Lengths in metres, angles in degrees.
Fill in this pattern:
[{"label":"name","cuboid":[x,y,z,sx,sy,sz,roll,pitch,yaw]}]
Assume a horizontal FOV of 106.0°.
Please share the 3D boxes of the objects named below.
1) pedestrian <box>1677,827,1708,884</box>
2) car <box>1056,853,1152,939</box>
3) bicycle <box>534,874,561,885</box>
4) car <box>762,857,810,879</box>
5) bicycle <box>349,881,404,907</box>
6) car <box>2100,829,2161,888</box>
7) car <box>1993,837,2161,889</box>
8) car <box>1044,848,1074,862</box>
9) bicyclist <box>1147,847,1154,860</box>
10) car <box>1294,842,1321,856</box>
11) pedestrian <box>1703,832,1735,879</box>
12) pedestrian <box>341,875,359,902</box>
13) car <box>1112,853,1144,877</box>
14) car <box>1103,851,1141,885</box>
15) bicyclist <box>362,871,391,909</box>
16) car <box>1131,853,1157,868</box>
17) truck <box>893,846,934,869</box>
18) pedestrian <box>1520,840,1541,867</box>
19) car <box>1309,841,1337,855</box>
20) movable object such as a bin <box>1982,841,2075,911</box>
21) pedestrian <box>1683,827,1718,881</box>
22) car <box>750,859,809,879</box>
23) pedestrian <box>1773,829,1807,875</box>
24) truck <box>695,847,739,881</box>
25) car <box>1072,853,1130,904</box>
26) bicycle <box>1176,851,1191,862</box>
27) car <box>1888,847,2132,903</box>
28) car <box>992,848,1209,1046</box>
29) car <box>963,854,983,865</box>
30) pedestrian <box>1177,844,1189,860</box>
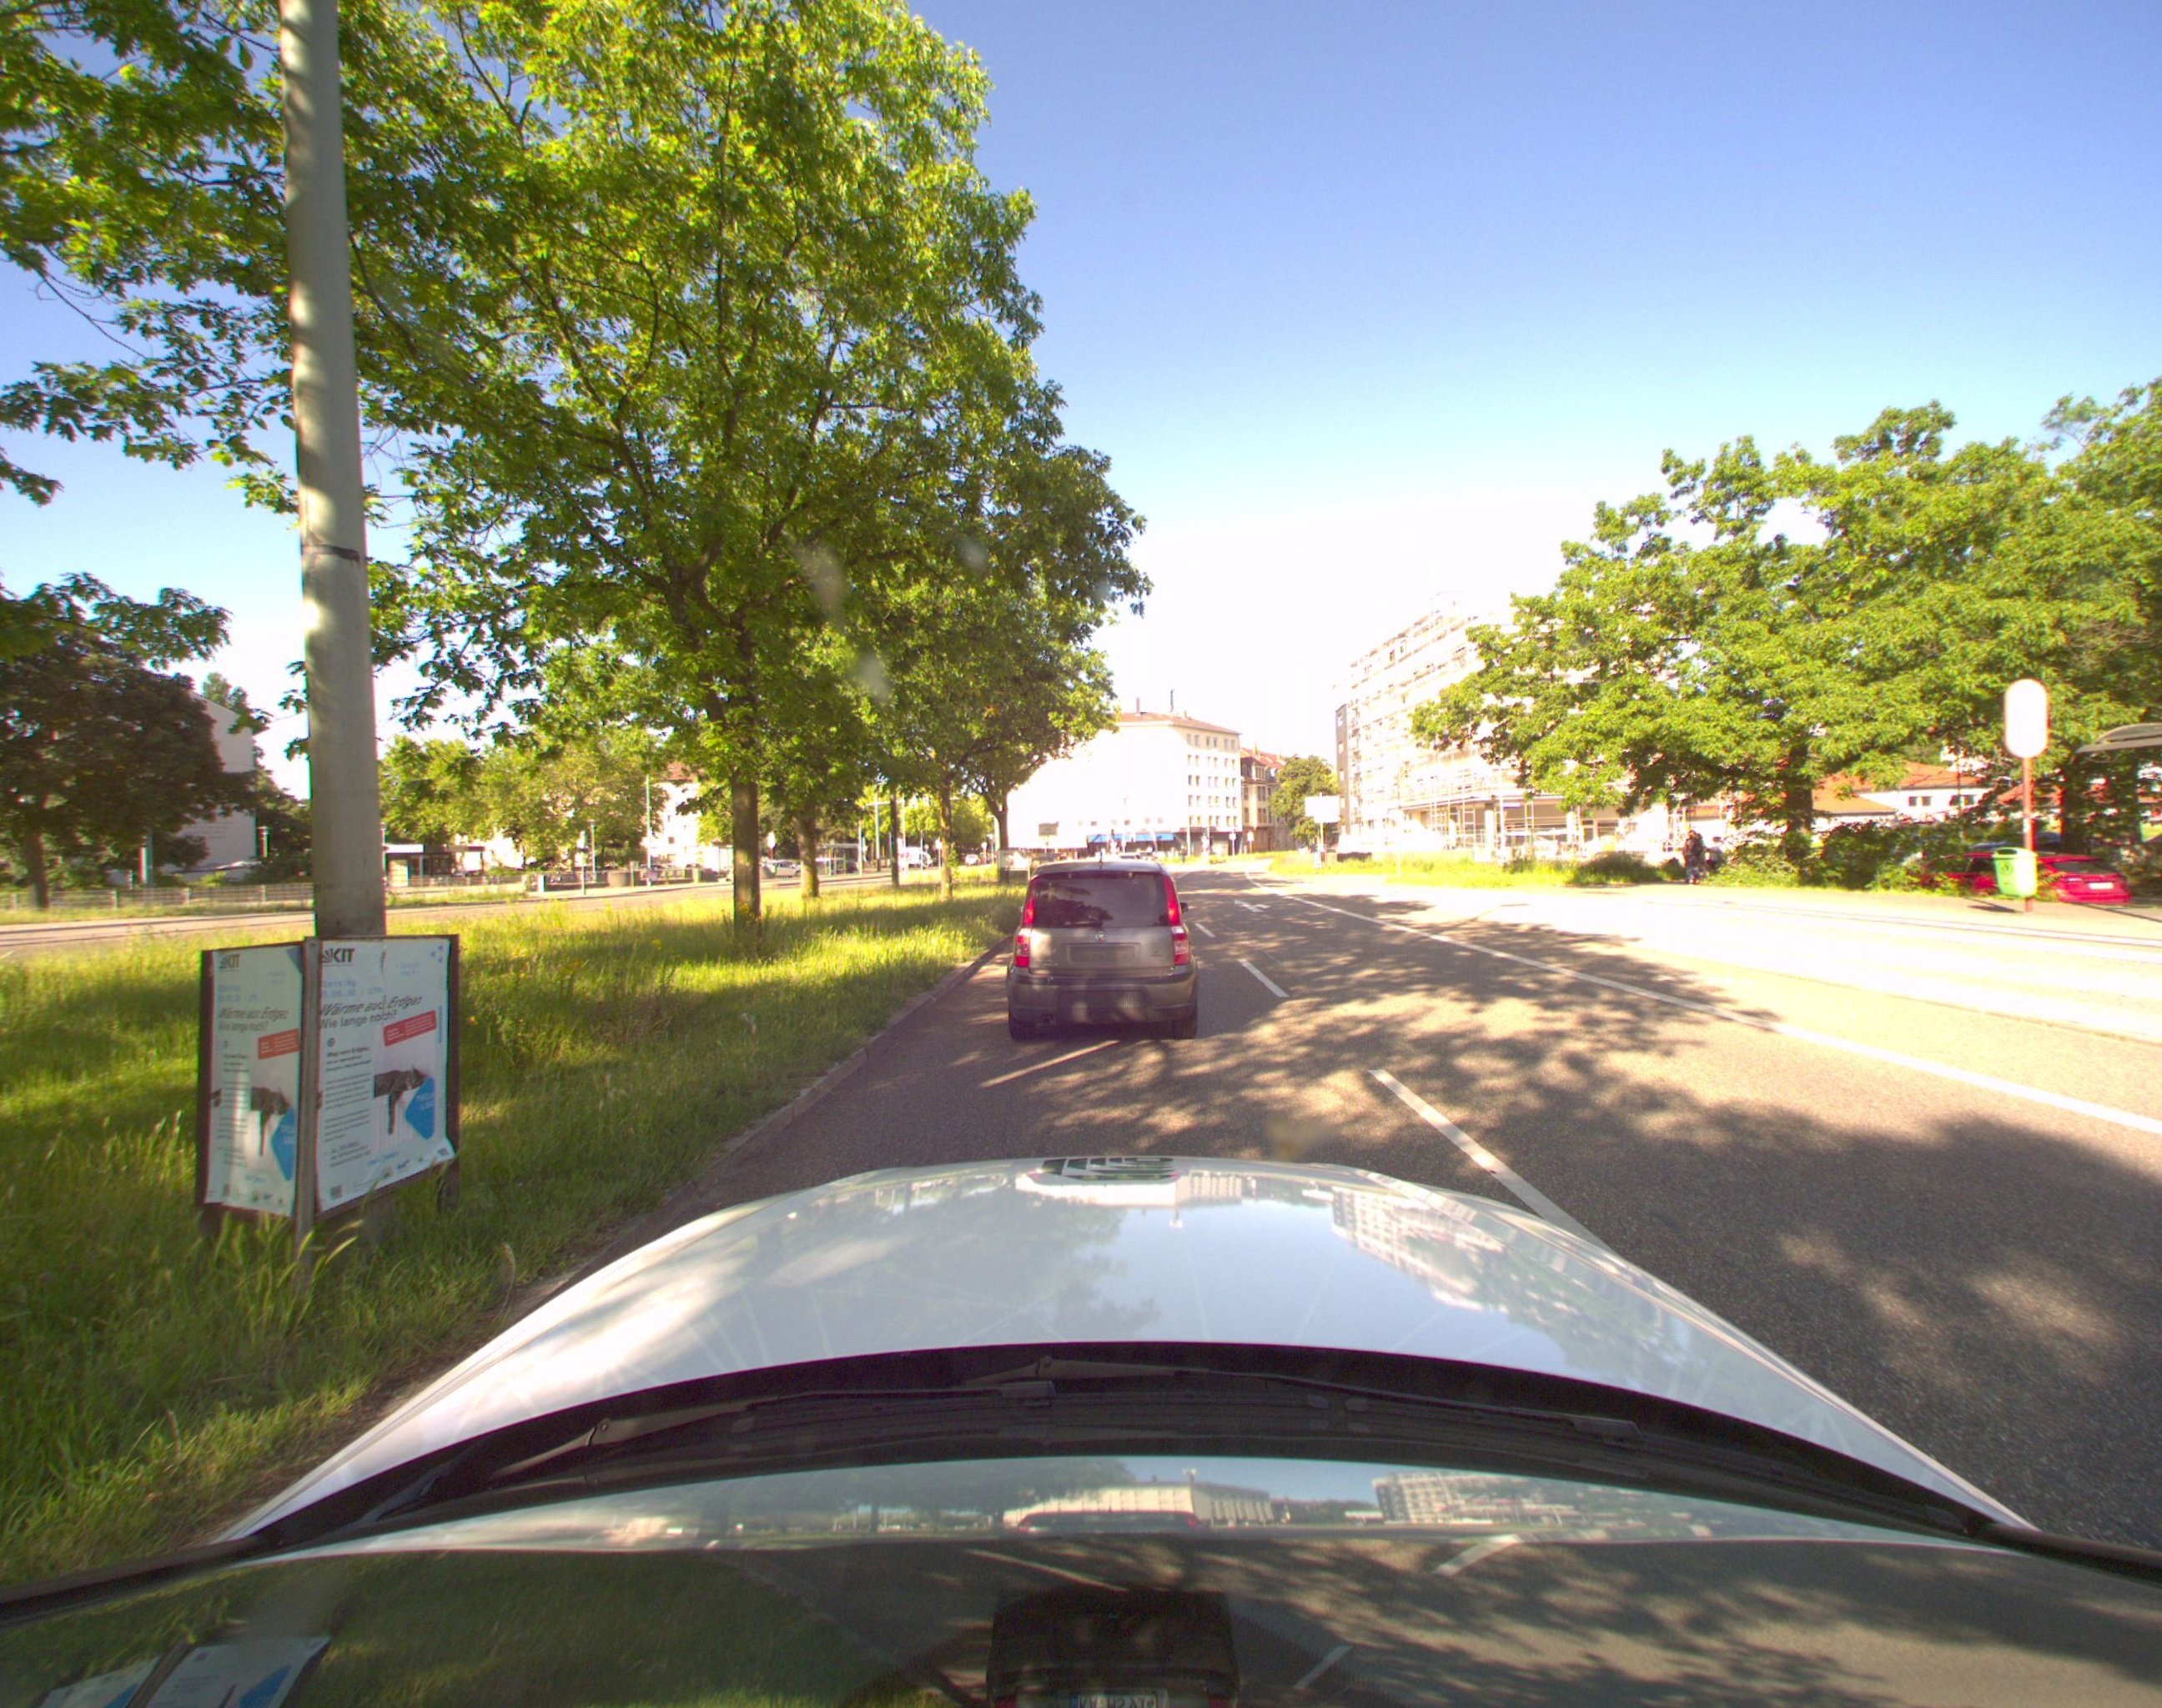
[{"label":"pedestrian","cuboid":[18.594,0.051,24.772,0.600,1.700,0.410,-2,0,1]},{"label":"car","cuboid":[0.456,0.731,15.964,1.615,1.429,3.690,-2,0,2]},{"label":"bicycle","cuboid":[-43.080,2.053,65.778,1.695,0.839,0.541,-2,0,-41]},{"label":"car","cuboid":[-27.121,1.254,75.070,1.741,1.717,4.025,2,2,29]},{"label":"bicycle","cuboid":[-29.651,1.664,34.309,0.607,1.001,1.665,-2,0,16]},{"label":"car","cuboid":[29.665,0.176,20.540,1.984,1.537,4.897,0,2,5]},{"label":"car","cuboid":[33.656,0.279,27.264,1.984,1.607,4.006,0,-1,5]},{"label":"car","cuboid":[-2.514,0.155,92.462,1.669,1.501,3.556,-2,0,-33]},{"label":"bicyclist","cuboid":[6.954,-0.039,81.880,0.531,1.357,0.595,-2,0,-14]},{"label":"car","cuboid":[25.076,-0.560,89.951,1.757,1.442,3.642,-1,1,34]},{"label":"pedestrian","cuboid":[20.868,0.052,26.641,0.525,1.518,0.614,-2,0,4]},{"label":"pedestrian","cuboid":[-49.923,2.350,55.598,0.553,1.829,0.731,-2,0,23]},{"label":"car","cuboid":[2.634,0.602,45.798,1.683,1.253,3.629,-2,0,3]},{"label":"car","cuboid":[1.925,0.607,37.683,1.639,1.438,3.399,-2,0,3]},{"label":"bicyclist","cuboid":[-29.663,1.509,34.293,0.607,1.530,0.679,-1,1,16]},{"label":"car","cuboid":[5.406,0.548,70.049,1.986,1.243,4.001,-1,0,1]},{"label":"truck","cuboid":[-18.623,0.353,90.722,4.085,2.426,1.793,-2,0,-2]},{"label":"pedestrian","cuboid":[26.121,-0.029,47.335,0.649,1.497,0.907,-2,0,-6]},{"label":"car","cuboid":[27.941,-0.689,94.014,1.802,1.508,4.026,-2,1,35]},{"label":"movable object such as a bin","cuboid":[14.359,0.324,12.357,0.724,1.030,0.578,-2,0,1]},{"label":"pedestrian","cuboid":[19.187,-0.012,25.216,0.619,1.634,0.552,-2,0,2]},{"label":"car","cuboid":[-26.544,1.302,71.840,1.849,1.544,4.576,2,3,45]},{"label":"pedestrian","cuboid":[24.772,-0.067,28.459,0.701,1.619,0.566,0,-1,-4]},{"label":"truck","cuboid":[-33.339,0.889,74.499,4.768,2.994,2.012,-1,1,44]},{"label":"car","cuboid":[0.645,0.757,27.149,1.754,1.486,4.294,-2,0,1]},{"label":"bicycle","cuboid":[9.334,0.238,74.237,0.783,0.951,1.849,0,-1,-11]},{"label":"car","cuboid":[21.901,0.439,19.449,1.392,1.154,3.912,-2,0,1]},{"label":"car","cuboid":[0.249,0.726,8.023,1.653,1.510,3.254,-2,0,3]},{"label":"car","cuboid":[-14.423,0.683,108.683,1.986,1.310,4.002,-2,0,2]},{"label":"pedestrian","cuboid":[9.320,-0.172,74.308,0.774,1.427,0.935,0,-1,-12]}]
